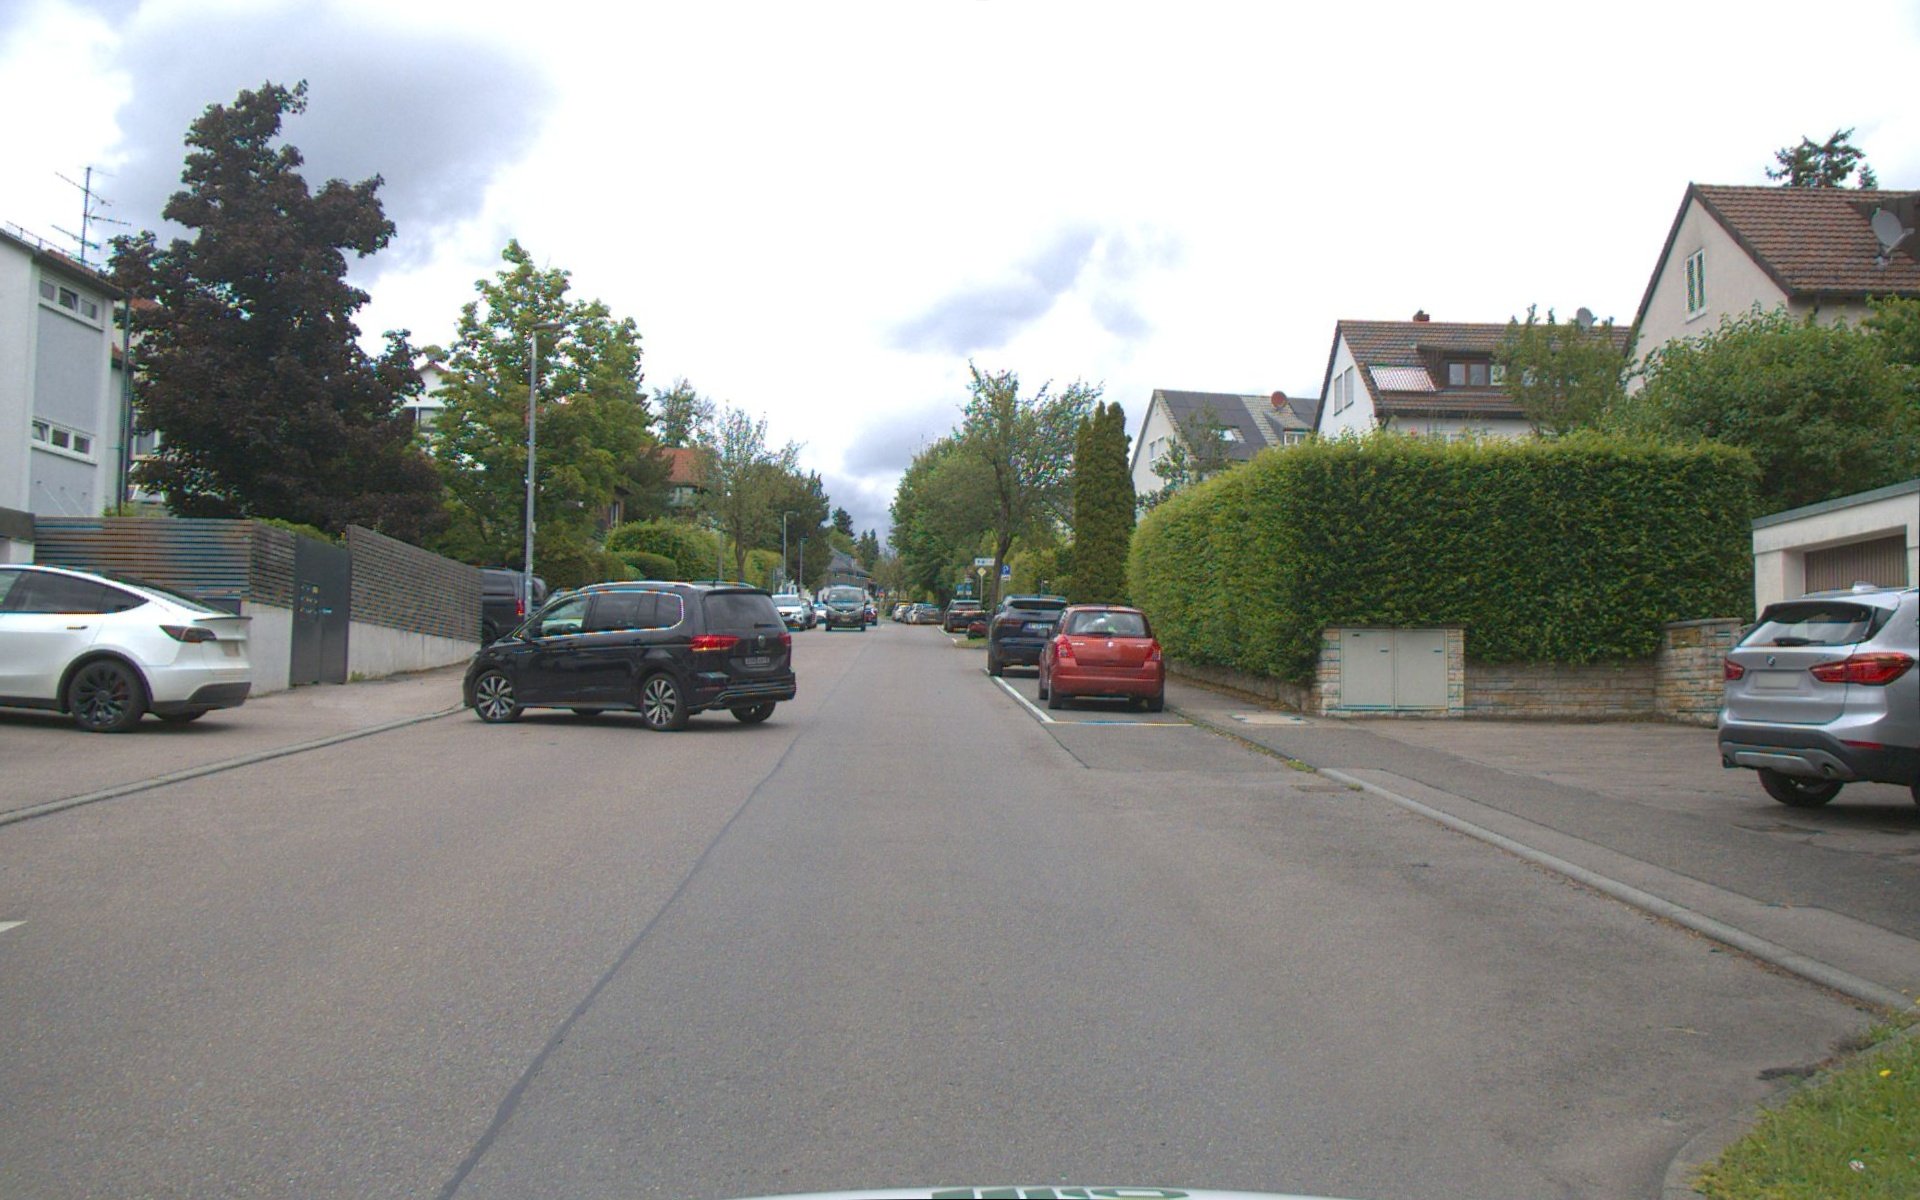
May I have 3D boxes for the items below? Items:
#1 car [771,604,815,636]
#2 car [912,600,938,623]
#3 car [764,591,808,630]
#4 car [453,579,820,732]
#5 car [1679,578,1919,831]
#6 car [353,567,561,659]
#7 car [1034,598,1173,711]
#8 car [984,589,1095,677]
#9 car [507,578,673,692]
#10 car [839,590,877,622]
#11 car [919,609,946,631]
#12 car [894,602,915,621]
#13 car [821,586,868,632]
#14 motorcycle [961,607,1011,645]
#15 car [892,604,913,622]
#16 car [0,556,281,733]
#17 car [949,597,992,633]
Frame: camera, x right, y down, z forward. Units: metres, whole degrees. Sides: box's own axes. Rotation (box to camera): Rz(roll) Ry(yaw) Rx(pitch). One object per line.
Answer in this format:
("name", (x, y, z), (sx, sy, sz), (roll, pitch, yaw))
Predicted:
("car", (-7.640, 0.933, 75.853), (1.727, 1.412, 3.998), (-1, -1, -2))
("car", (-2.658, 0.860, 125.028), (1.680, 1.686, 3.618), (1, 0, -6))
("car", (-7.346, 0.409, 70.064), (1.688, 1.567, 3.997), (0, 0, -4))
("car", (-3.916, 0.602, 19.834), (4.220, 1.640, 1.848), (1, -1, 33))
("car", (7.627, 0.670, 11.973), (4.132, 1.627, 1.877), (0, 0, -11))
("car", (-11.266, 0.302, 37.209), (3.986, 1.984, 2.001), (0, -1, 6))
("car", (2.085, 0.759, 24.904), (1.627, 1.534, 3.757), (1, 0, -2))
("car", (1.607, 0.668, 34.864), (1.953, 1.646, 4.512), (3, 0, -1))
("car", (-5.989, 0.520, 27.258), (1.800, 1.695, 4.407), (-1, 0, -1))
("car", (-5.586, 0.307, 90.865), (1.902, 1.676, 4.256), (-1, 0, -2))
("car", (-2.011, 1.420, 120.446), (1.633, 1.527, 3.463), (1, 0, -6))
("car", (-5.123, 1.063, 151.957), (1.633, 1.697, 3.463), (1, 0, -6))
("car", (-4.881, 0.360, 70.165), (1.847, 1.883, 4.399), (0, 0, -2))
("motorcycle", (0.960, 0.936, 59.673), (1.849, 1.370, 0.591), (0, 0, -38))
("car", (-5.032, 1.145, 144.983), (1.633, 1.527, 3.463), (1, 0, -6))
("car", (-9.799, 0.389, 17.524), (4.324, 1.657, 1.909), (3, 0, -3))
("car", (0.451, 0.655, 77.235), (1.844, 1.560, 4.474), (2, 0, -1))
